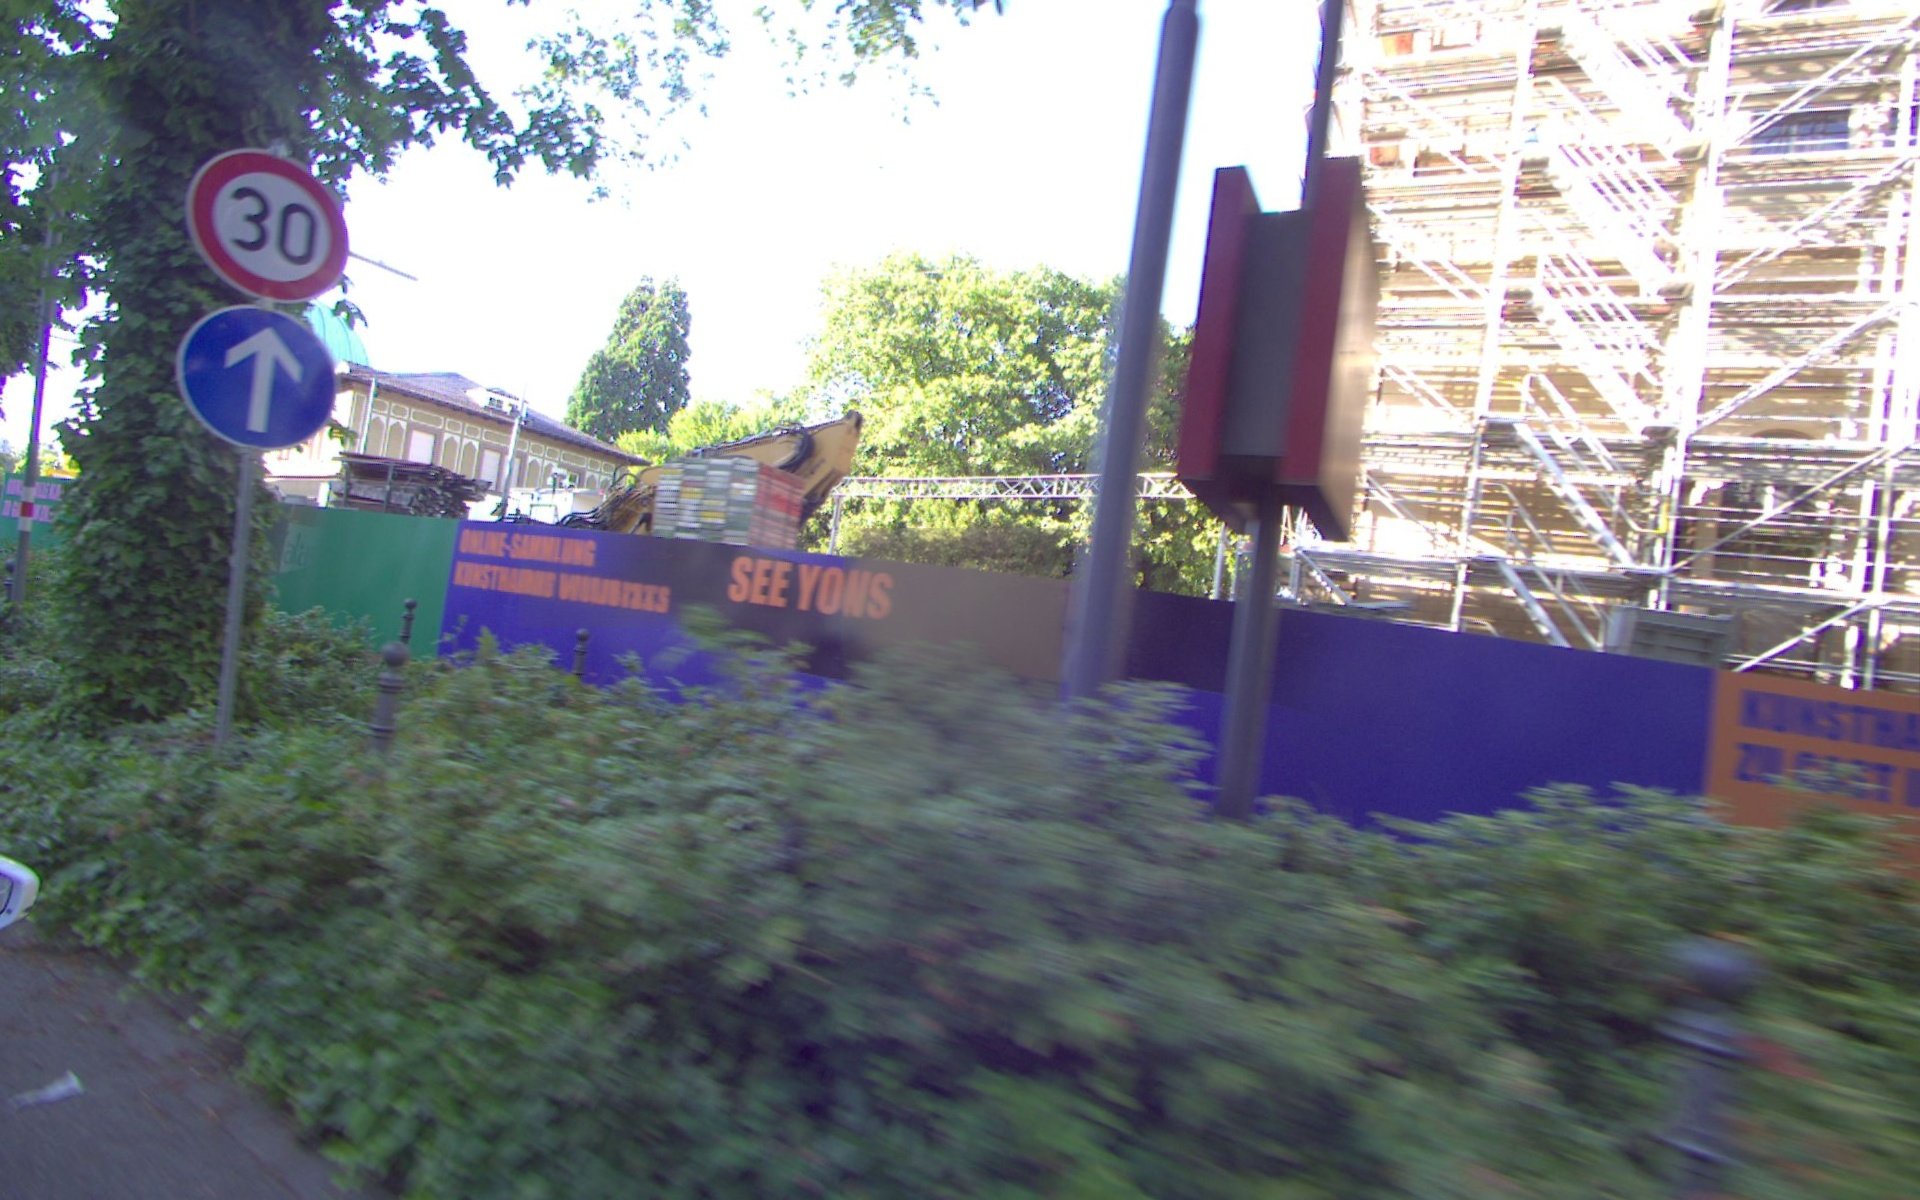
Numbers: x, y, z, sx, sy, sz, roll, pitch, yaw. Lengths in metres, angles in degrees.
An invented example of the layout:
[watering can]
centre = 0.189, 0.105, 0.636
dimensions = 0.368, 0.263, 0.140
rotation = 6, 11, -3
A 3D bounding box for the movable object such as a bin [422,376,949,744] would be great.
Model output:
[movable object such as a bin]
centre = -4.555, -0.660, 15.998
dimensions = 7.778, 4.590, 3.312
rotation = 6, -2, 34

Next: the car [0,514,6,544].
[car]
centre = -25.517, -1.640, 25.123
dimensions = 3.999, 1.479, 1.842
rotation = 5, -5, 40
